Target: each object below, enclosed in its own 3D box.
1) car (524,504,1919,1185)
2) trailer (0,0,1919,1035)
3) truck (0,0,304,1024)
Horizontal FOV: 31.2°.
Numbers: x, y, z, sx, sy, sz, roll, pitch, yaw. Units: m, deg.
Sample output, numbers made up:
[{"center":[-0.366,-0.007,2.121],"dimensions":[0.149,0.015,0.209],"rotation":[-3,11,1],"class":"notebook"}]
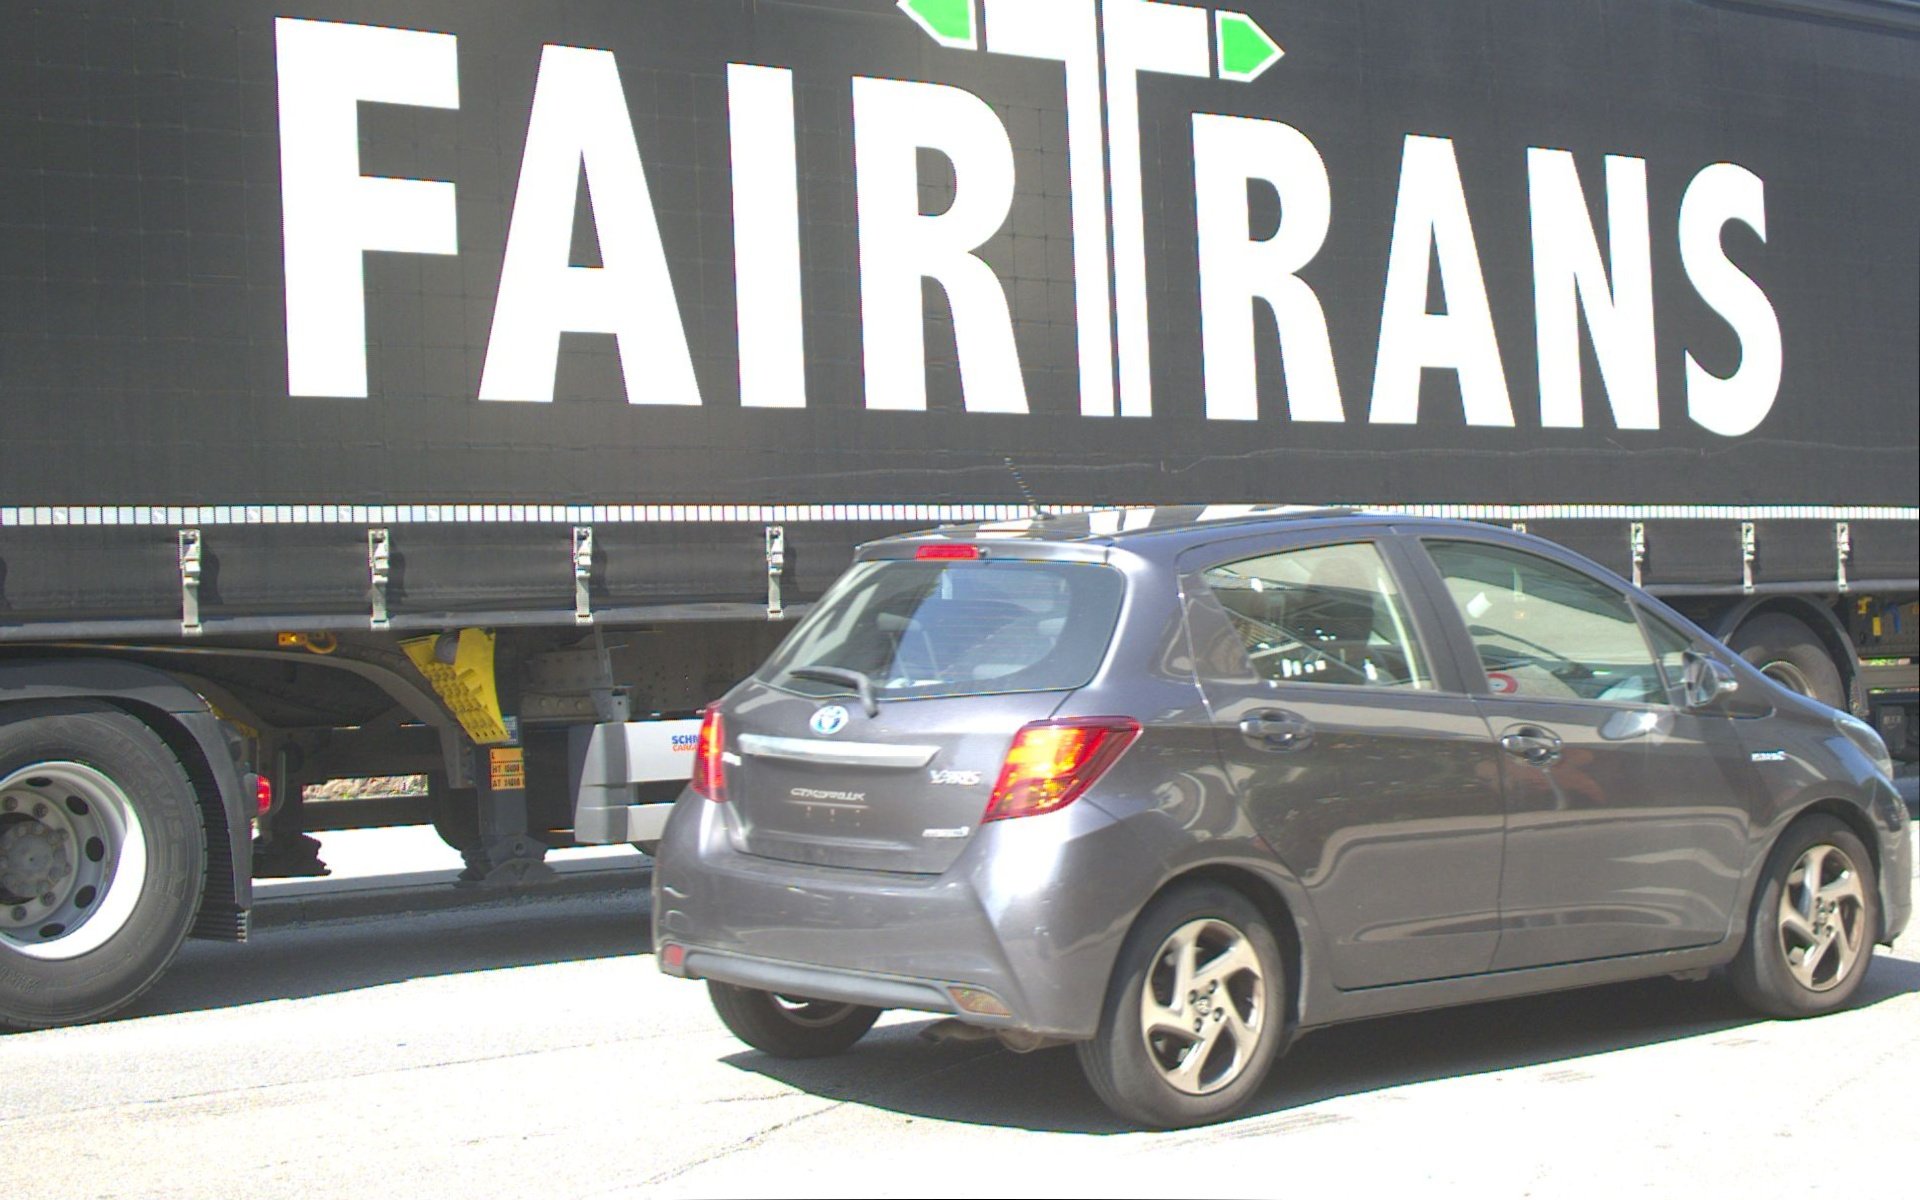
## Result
[{"center":[0.905,0.507,9.510],"dimensions":[3.870,1.493,1.727],"rotation":[-2,1,-42],"class":"car"},{"center":[-0.015,-0.859,14.249],"dimensions":[13.732,4.090,2.841],"rotation":[-2,-1,-40],"class":"trailer"},{"center":[-5.280,-0.703,9.826],"dimensions":[5.915,4.057,2.838],"rotation":[-2,-1,-40],"class":"truck"}]
